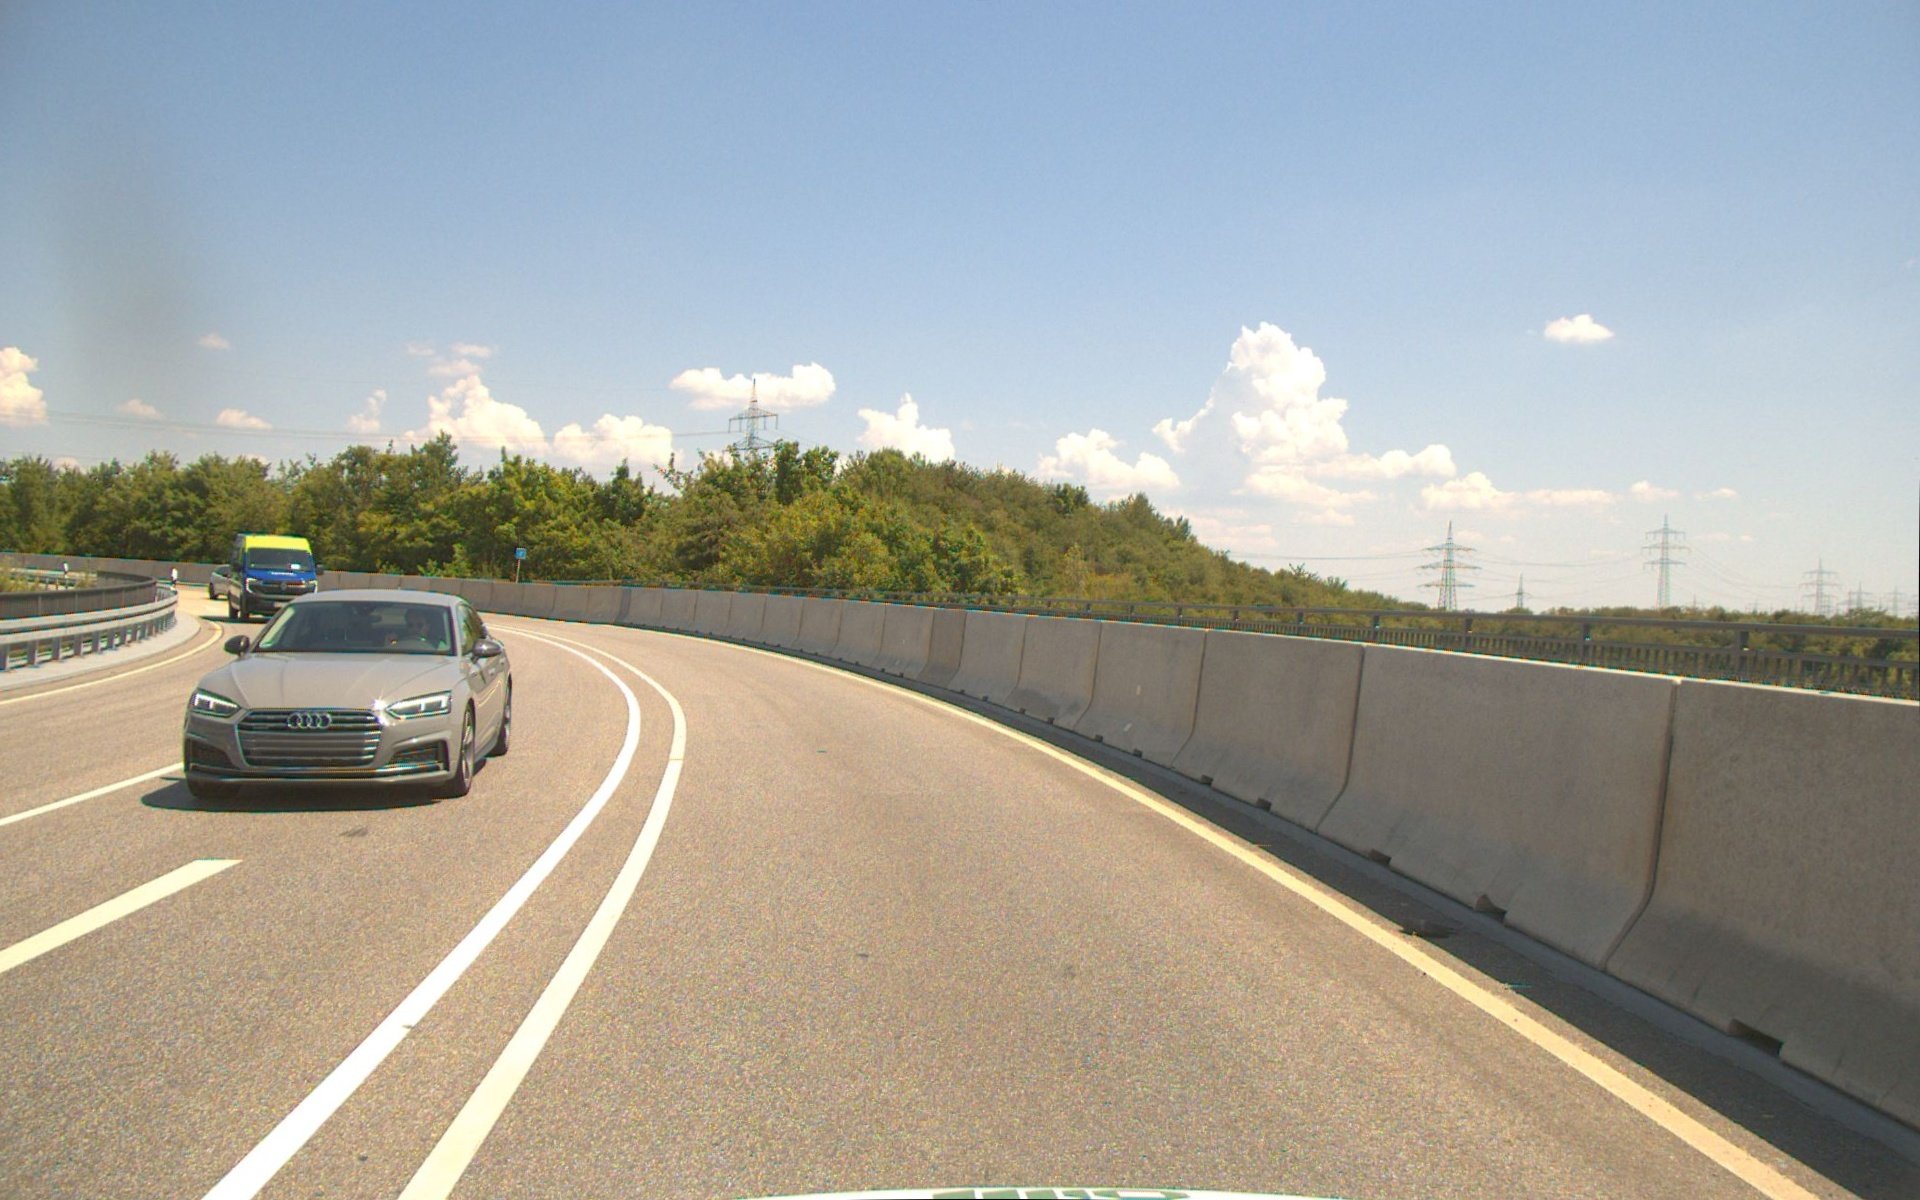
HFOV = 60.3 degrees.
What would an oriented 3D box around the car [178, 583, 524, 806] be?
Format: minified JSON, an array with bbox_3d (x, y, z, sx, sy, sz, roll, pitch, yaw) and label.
[{"bbox_3d":[-4.450,0.588,12.732,1.746,1.409,4.272,1,0,-10],"label":"car"}]

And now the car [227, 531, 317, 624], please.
[{"bbox_3d":[-20.117,-0.733,48.264,1.970,2.527,5.433,-1,3,-27],"label":"car"}]

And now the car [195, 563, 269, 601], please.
[{"bbox_3d":[-30.147,-0.746,68.441,1.732,1.484,4.304,-1,1,-40],"label":"car"}]
